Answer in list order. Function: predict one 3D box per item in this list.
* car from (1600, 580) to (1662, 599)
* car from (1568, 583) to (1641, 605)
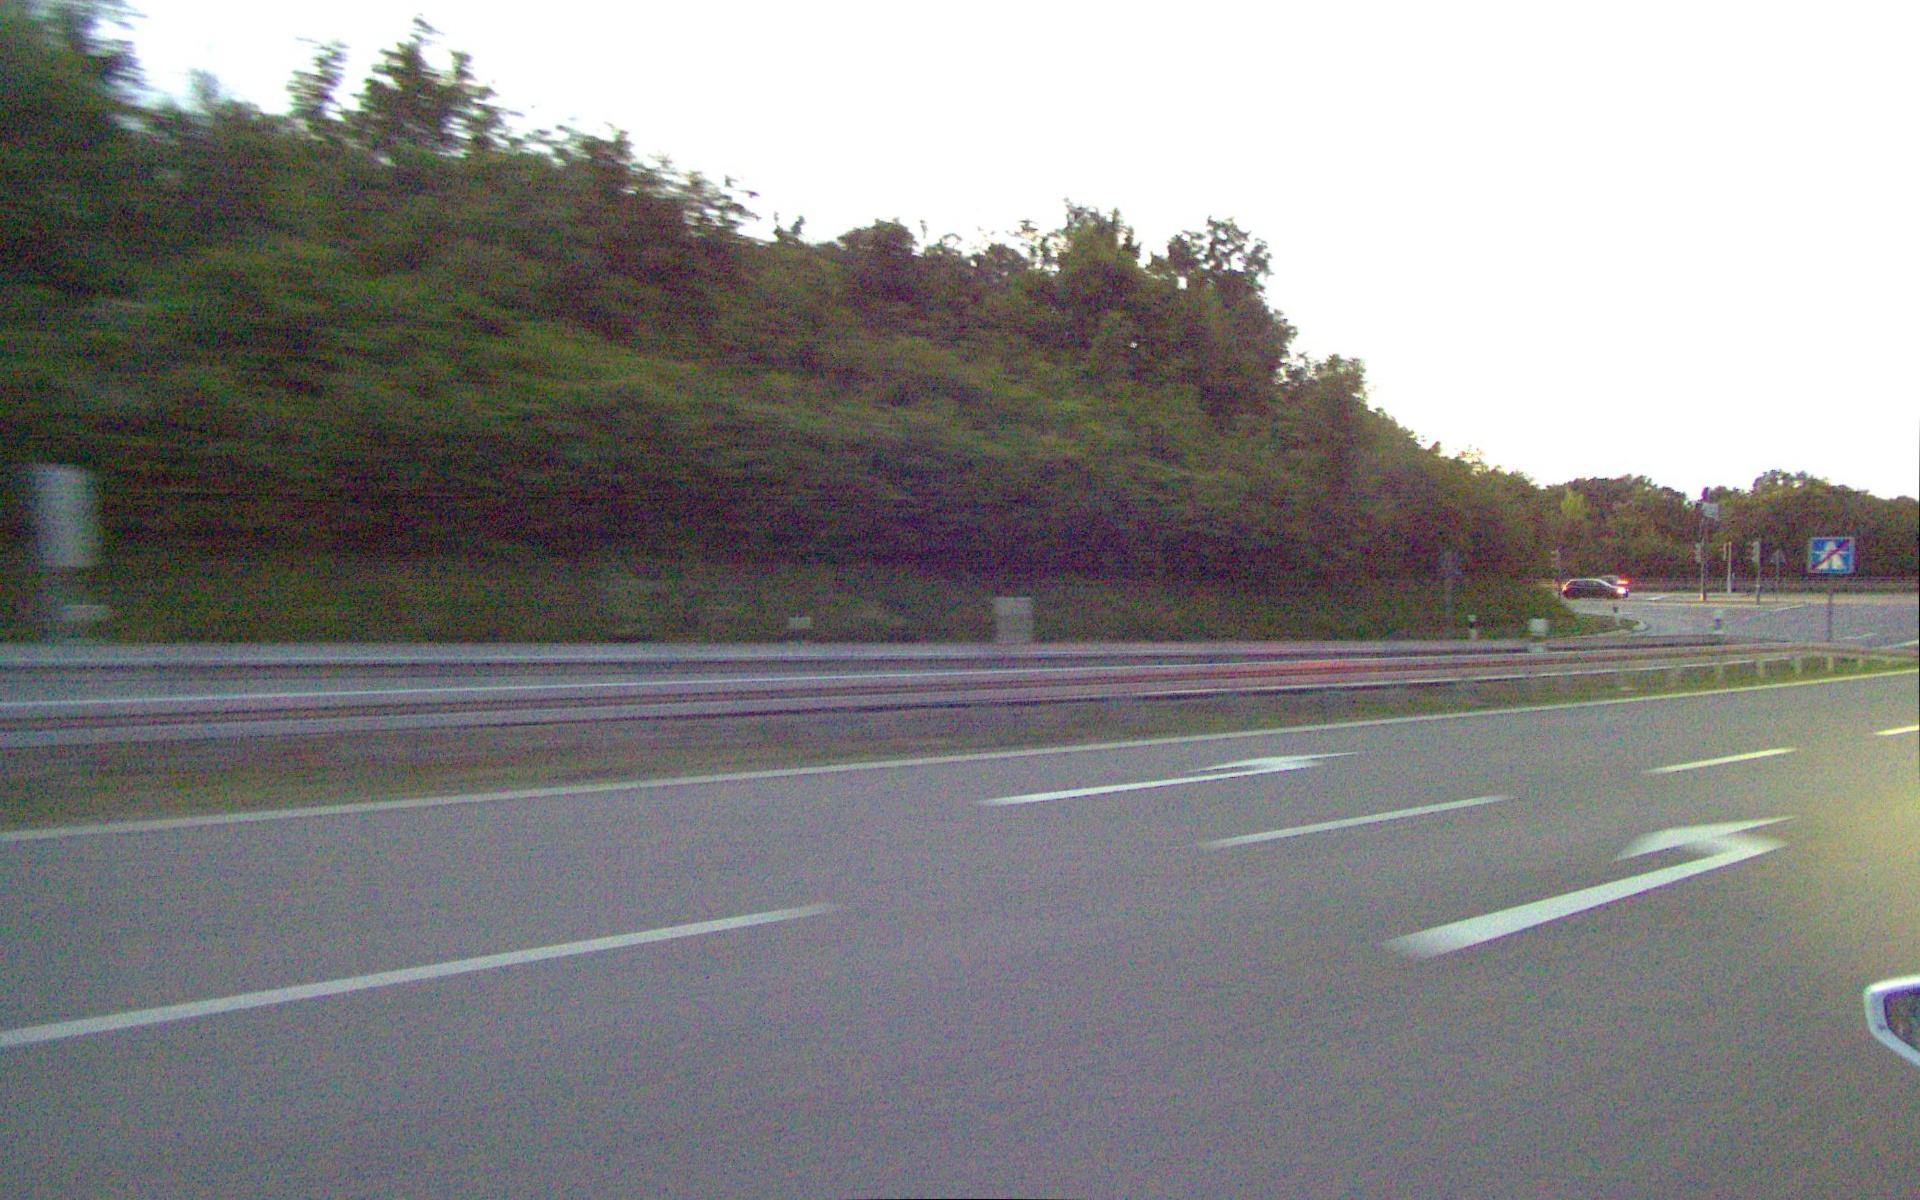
[{"bbox_3d":[55.329,-0.866,82.830,1.987,1.472,3.946,0,2,-45],"label":"car"},{"bbox_3d":[44.704,-0.393,69.700,3.945,1.472,1.988,0,0,44],"label":"car"}]
